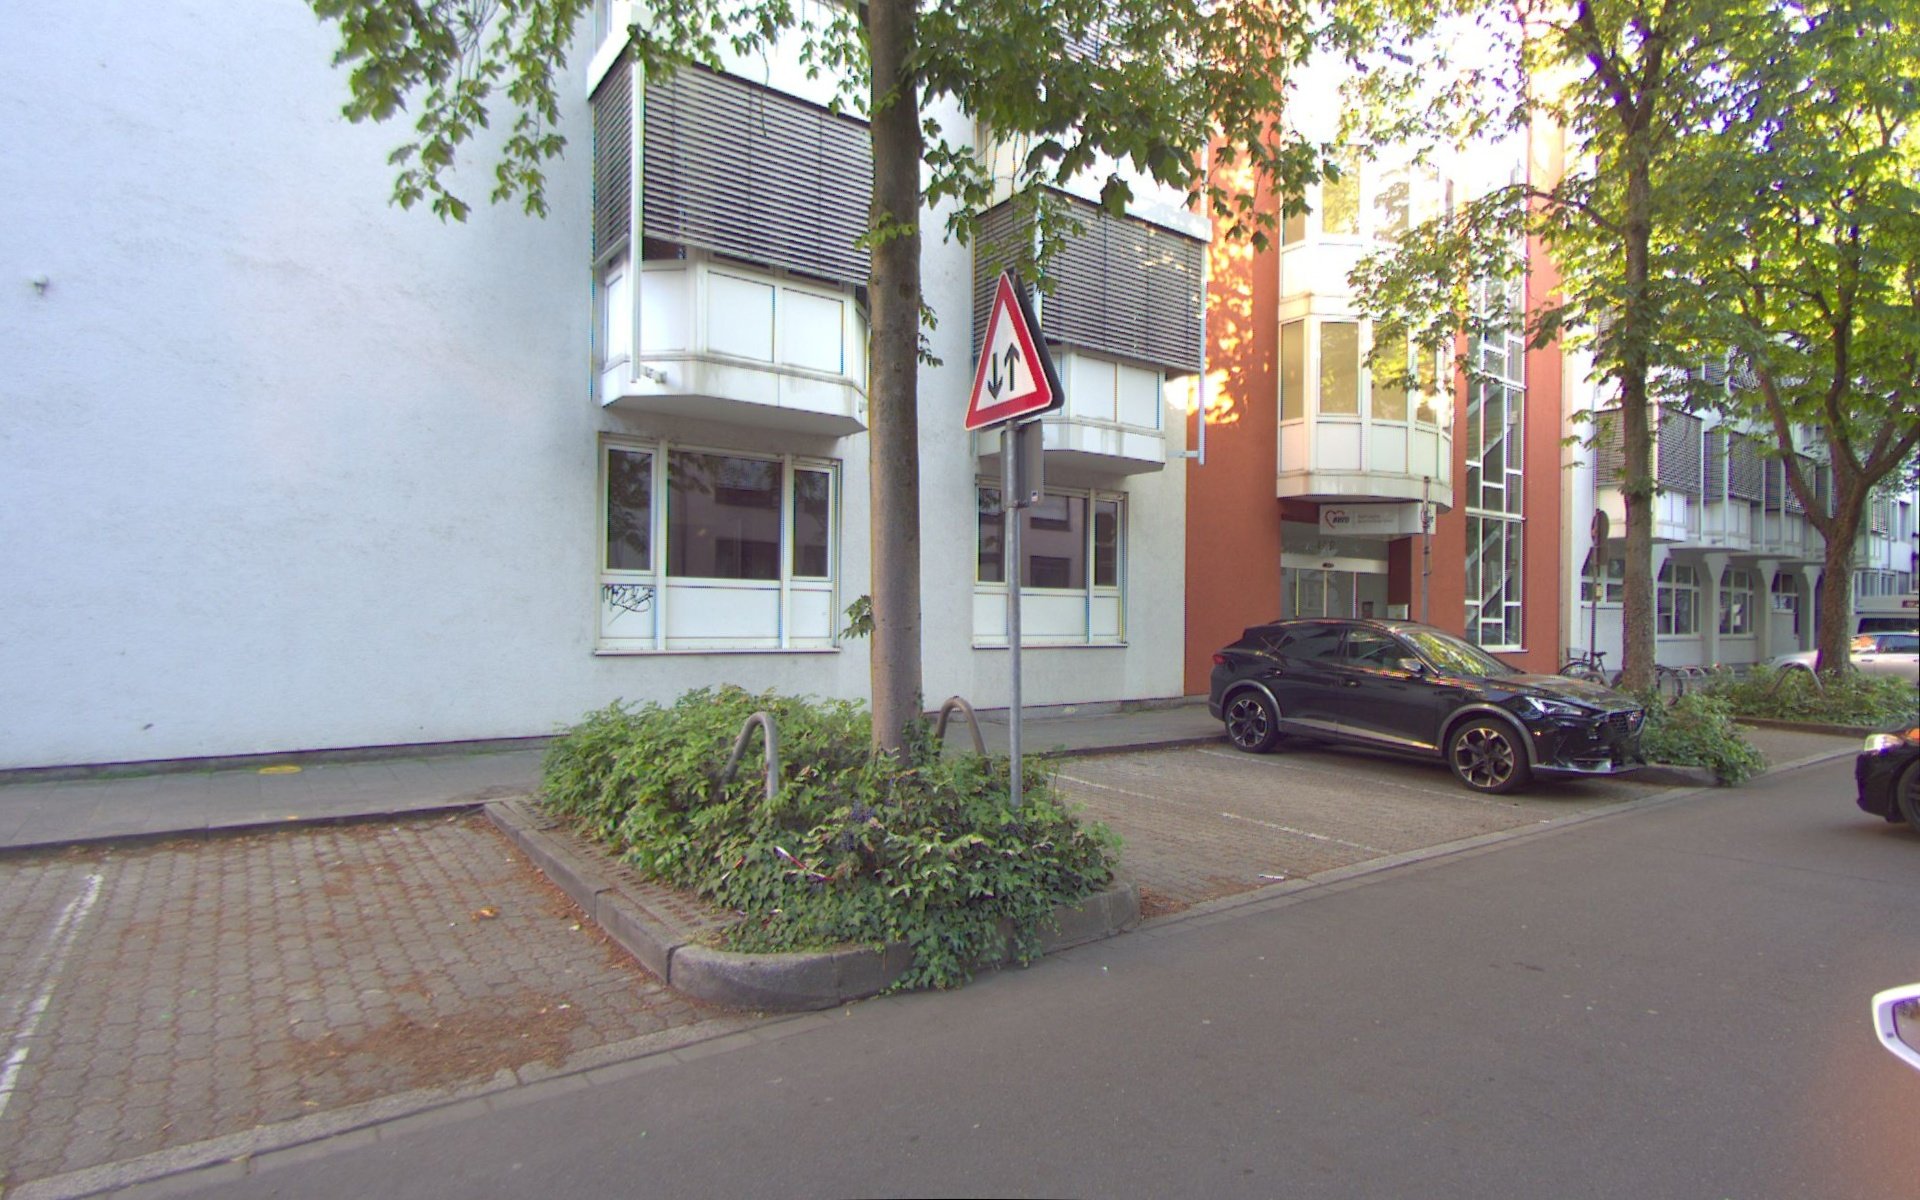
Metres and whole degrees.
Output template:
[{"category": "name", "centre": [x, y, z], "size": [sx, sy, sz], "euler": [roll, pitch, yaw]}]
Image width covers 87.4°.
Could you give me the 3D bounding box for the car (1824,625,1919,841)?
[{"category": "car", "centre": [8.200, 0.930, 5.706], "size": [1.774, 1.499, 4.736], "euler": [1, -1, -22]}]

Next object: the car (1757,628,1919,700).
[{"category": "car", "centre": [21.159, 1.452, 23.236], "size": [1.767, 1.537, 3.942], "euler": [1, -1, -35]}]

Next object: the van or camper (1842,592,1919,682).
[{"category": "van or camper", "centre": [27.900, 1.039, 28.037], "size": [1.981, 2.511, 4.632], "euler": [1, -1, -36]}]

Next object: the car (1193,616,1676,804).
[{"category": "car", "centre": [4.714, 0.959, 10.610], "size": [1.768, 1.537, 4.325], "euler": [1, -1, -35]}]
